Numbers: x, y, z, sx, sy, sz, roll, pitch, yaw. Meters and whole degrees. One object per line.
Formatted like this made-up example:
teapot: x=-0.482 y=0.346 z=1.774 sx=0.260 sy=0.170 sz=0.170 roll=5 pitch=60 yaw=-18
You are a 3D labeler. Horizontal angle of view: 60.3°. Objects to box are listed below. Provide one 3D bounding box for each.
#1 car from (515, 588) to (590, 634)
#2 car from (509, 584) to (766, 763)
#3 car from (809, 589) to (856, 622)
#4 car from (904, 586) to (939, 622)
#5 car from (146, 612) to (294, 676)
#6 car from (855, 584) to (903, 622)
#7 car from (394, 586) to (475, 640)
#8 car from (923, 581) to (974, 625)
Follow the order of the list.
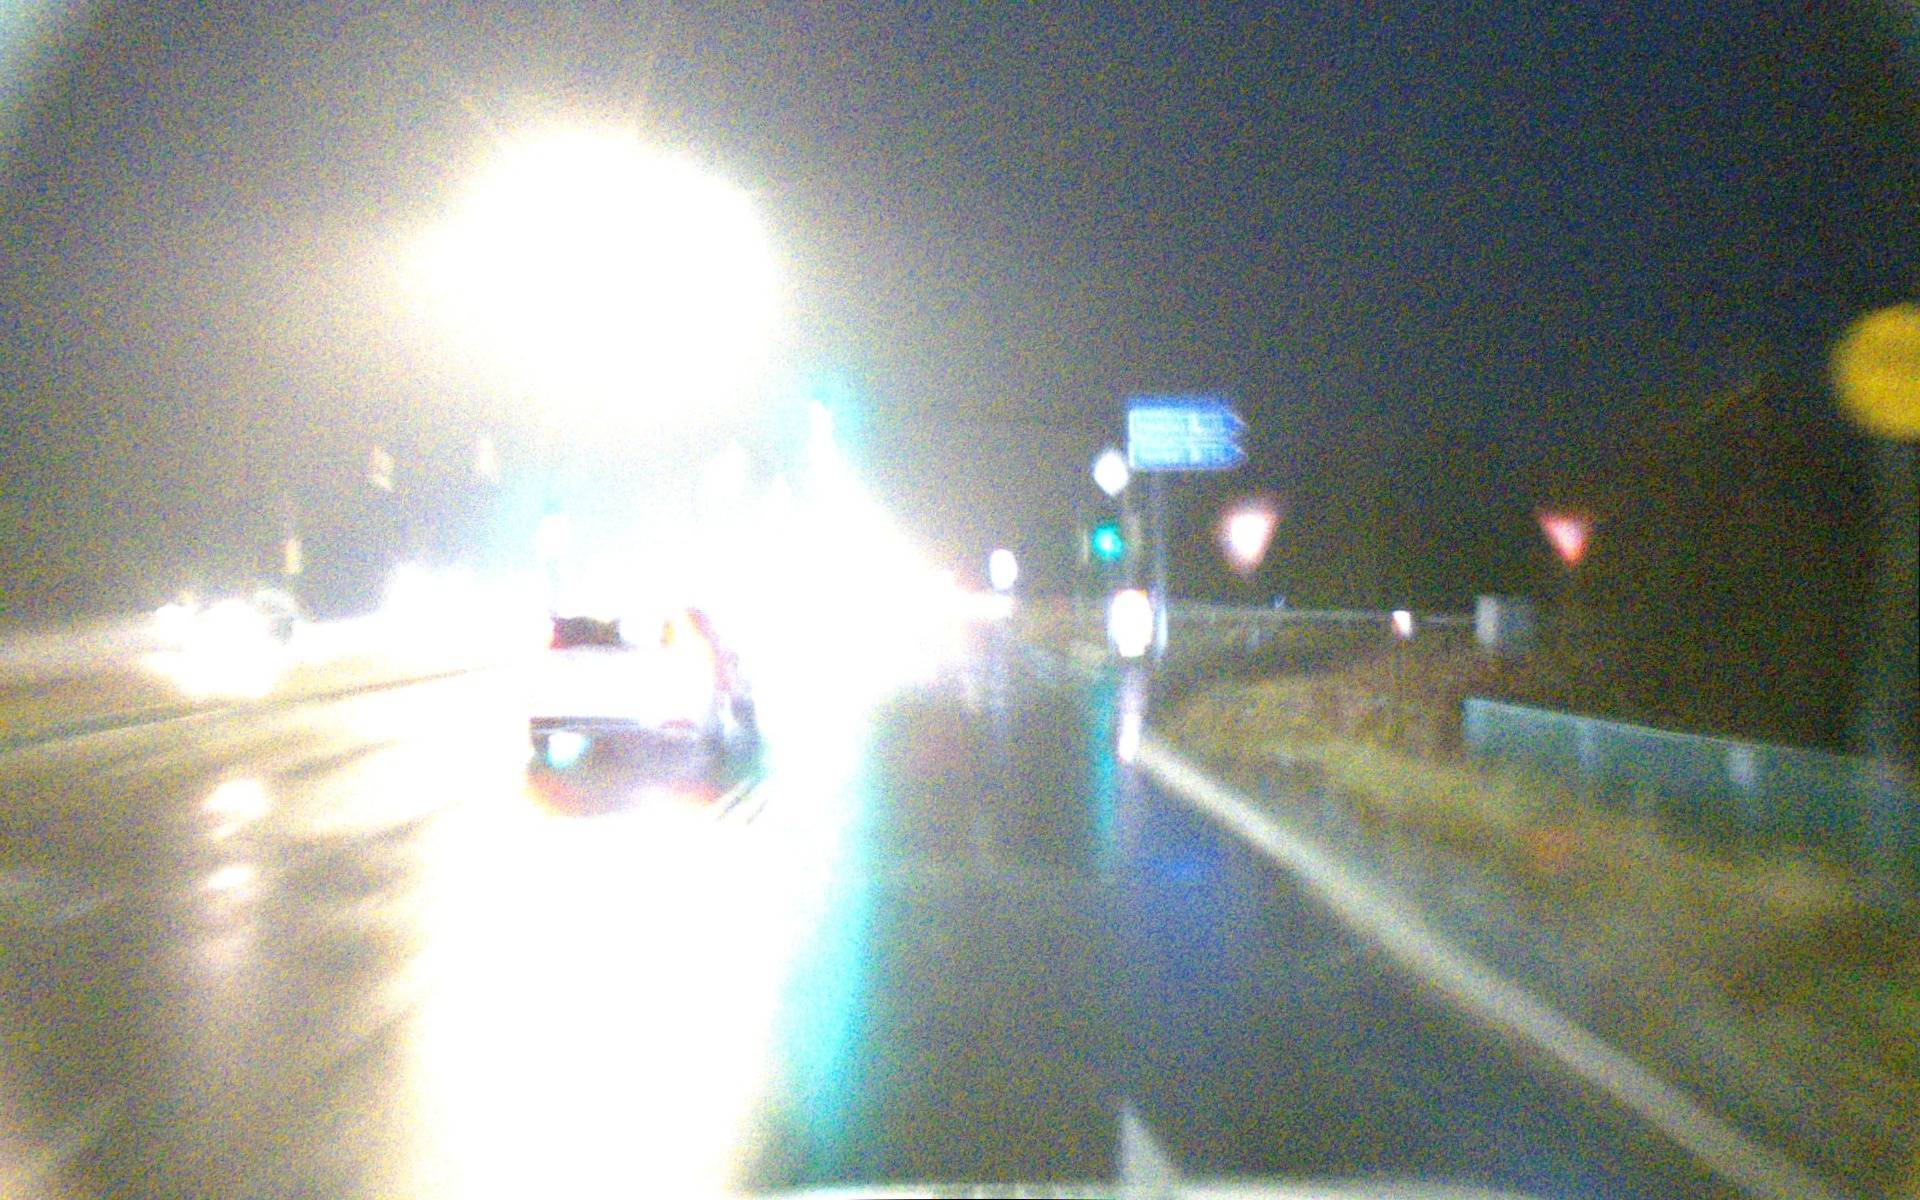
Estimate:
car: x=-15.758 y=0.399 z=64.164 sx=1.745 sy=1.636 sz=4.244 roll=-3 pitch=0 yaw=1
car: x=-2.938 y=0.600 z=15.939 sx=1.760 sy=1.477 sz=4.267 roll=1 pitch=0 yaw=-2
car: x=-7.470 y=0.316 z=97.089 sx=2.132 sy=1.629 sz=4.001 roll=4 pitch=-2 yaw=3
car: x=-2.322 y=0.261 z=100.451 sx=1.953 sy=1.871 sz=3.998 roll=5 pitch=-3 yaw=0
car: x=-15.542 y=0.901 z=34.908 sx=1.610 sy=1.224 sz=3.613 roll=0 pitch=0 yaw=-2
car: x=-4.045 y=0.176 z=83.196 sx=2.133 sy=1.629 sz=3.999 roll=4 pitch=-2 yaw=0
car: x=-19.476 y=0.455 z=61.473 sx=1.726 sy=1.925 sz=4.205 roll=0 pitch=0 yaw=-1
car: x=-0.473 y=0.164 z=71.435 sx=1.870 sy=1.629 sz=4.001 roll=4 pitch=-2 yaw=3
